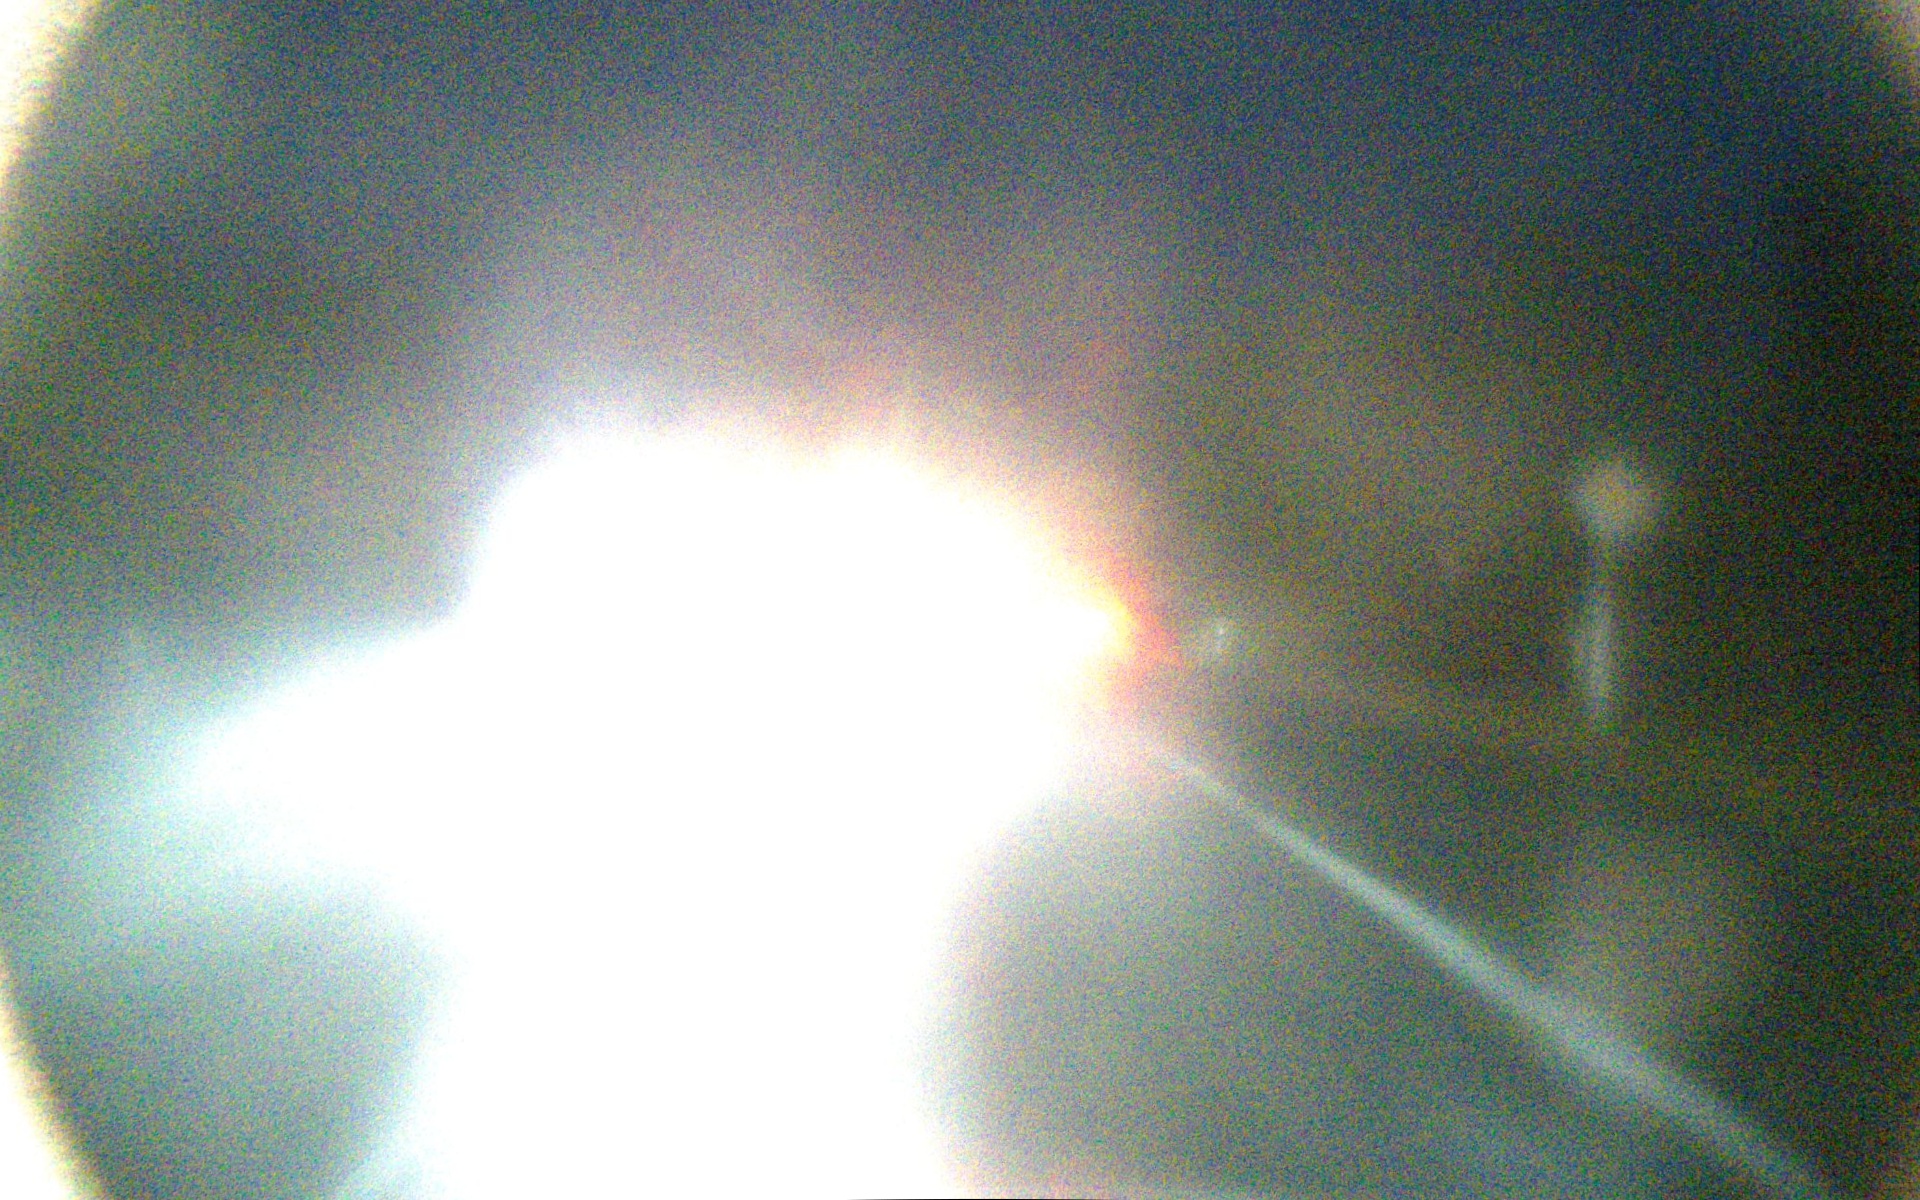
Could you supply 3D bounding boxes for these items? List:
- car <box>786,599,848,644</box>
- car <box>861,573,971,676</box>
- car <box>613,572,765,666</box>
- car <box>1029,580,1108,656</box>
[{"bbox_3d":[-5.199,0.777,60.571,1.953,1.524,3.773,2,0,-2],"label":"car"},{"bbox_3d":[-0.812,0.400,29.295,1.772,1.650,3.998,2,0,-3],"label":"car"},{"bbox_3d":[-4.632,0.303,28.903,1.953,1.443,4.664,2,0,-2],"label":"car"},{"bbox_3d":[3.127,0.497,48.424,2.050,2.049,4.000,2,0,1],"label":"car"}]
